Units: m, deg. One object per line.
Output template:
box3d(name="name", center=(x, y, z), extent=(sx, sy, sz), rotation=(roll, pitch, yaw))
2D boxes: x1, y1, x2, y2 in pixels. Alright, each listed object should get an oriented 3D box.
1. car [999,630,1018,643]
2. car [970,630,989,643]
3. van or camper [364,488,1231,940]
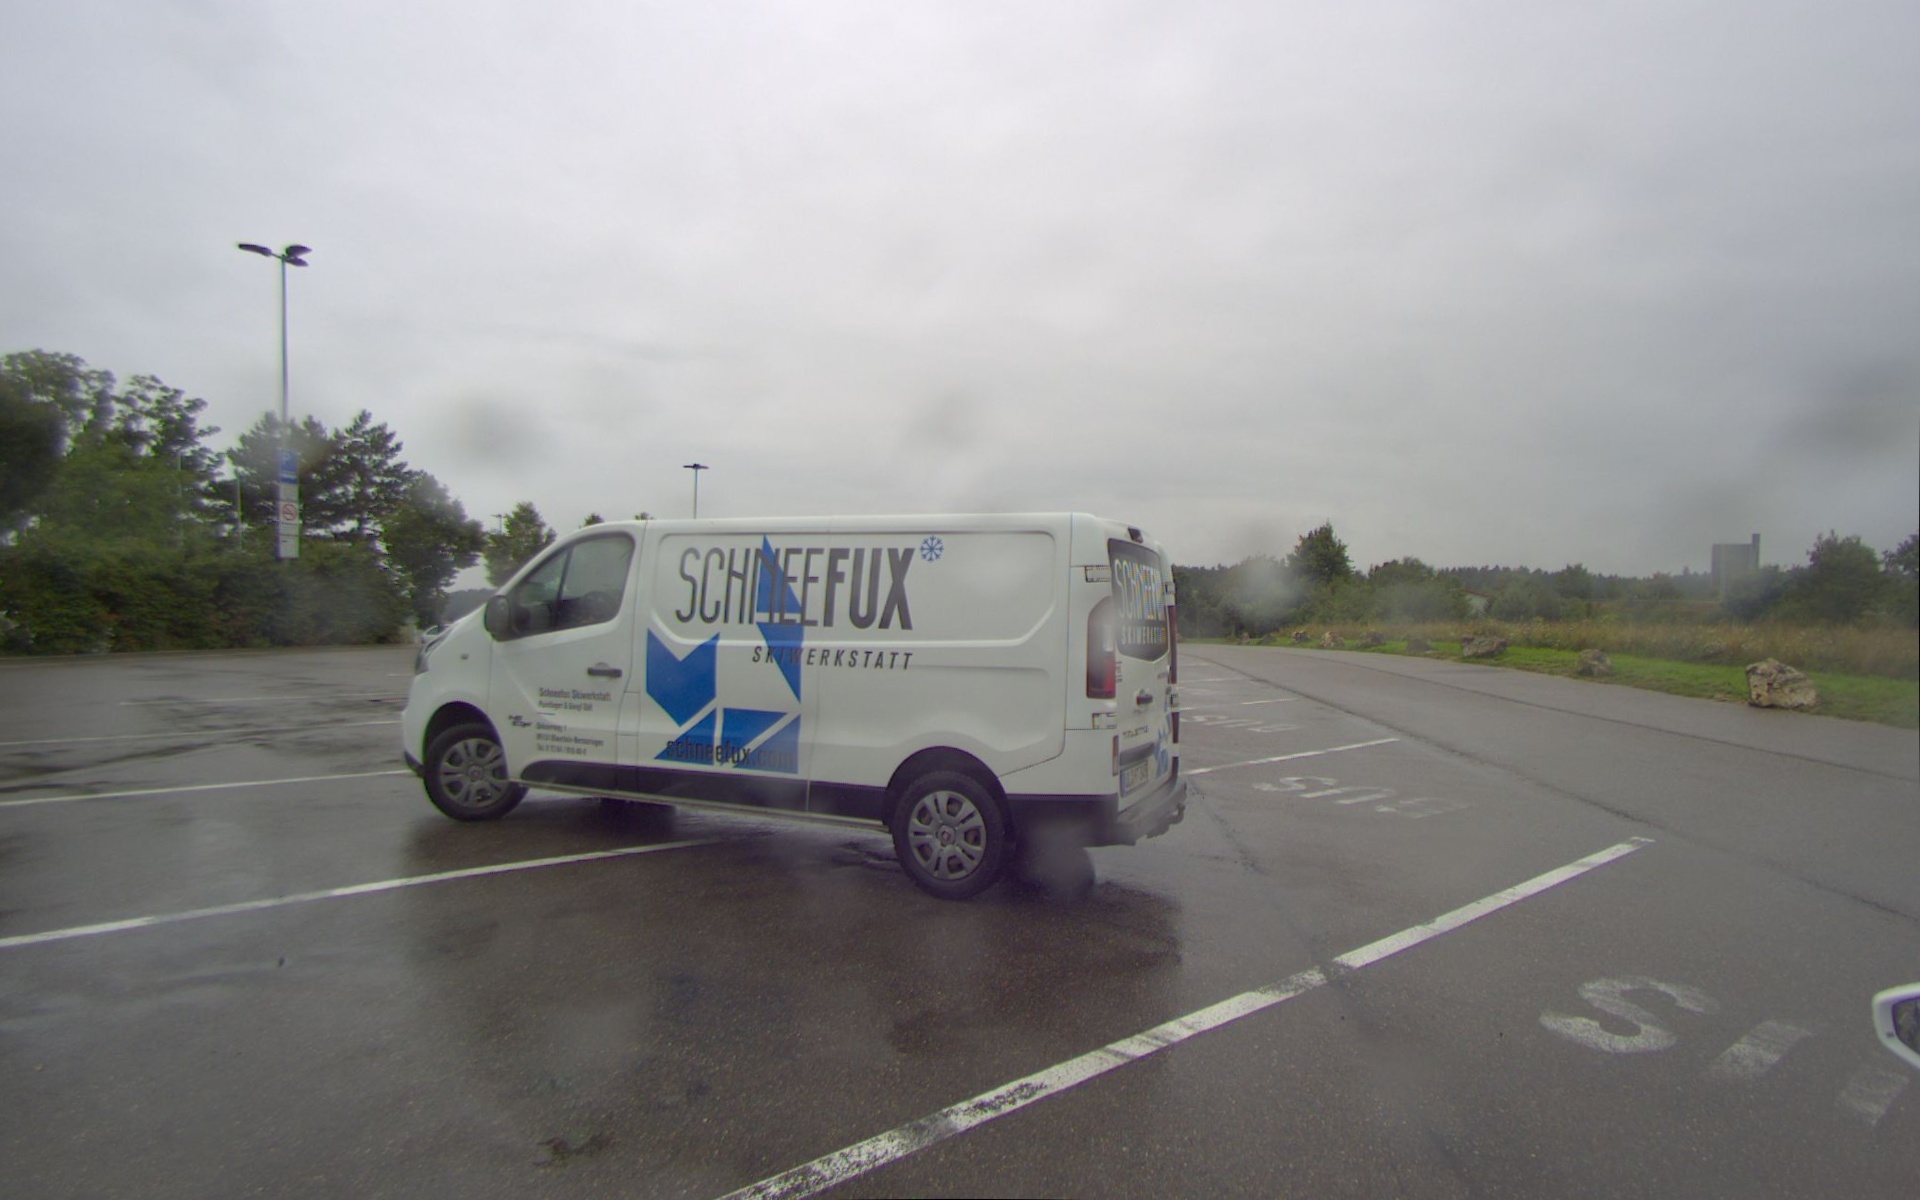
box3d(name="car", center=(4.432, 3.379, 92.588), extent=(1.675, 1.014, 3.768), rotation=(1, 0, 1))
box3d(name="car", center=(1.788, 3.362, 92.604), extent=(1.675, 1.014, 3.768), rotation=(1, 0, 1))
box3d(name="van or camper", center=(-1.092, 0.381, 6.450), extent=(5.099, 1.971, 2.193), rotation=(3, 1, 25))
